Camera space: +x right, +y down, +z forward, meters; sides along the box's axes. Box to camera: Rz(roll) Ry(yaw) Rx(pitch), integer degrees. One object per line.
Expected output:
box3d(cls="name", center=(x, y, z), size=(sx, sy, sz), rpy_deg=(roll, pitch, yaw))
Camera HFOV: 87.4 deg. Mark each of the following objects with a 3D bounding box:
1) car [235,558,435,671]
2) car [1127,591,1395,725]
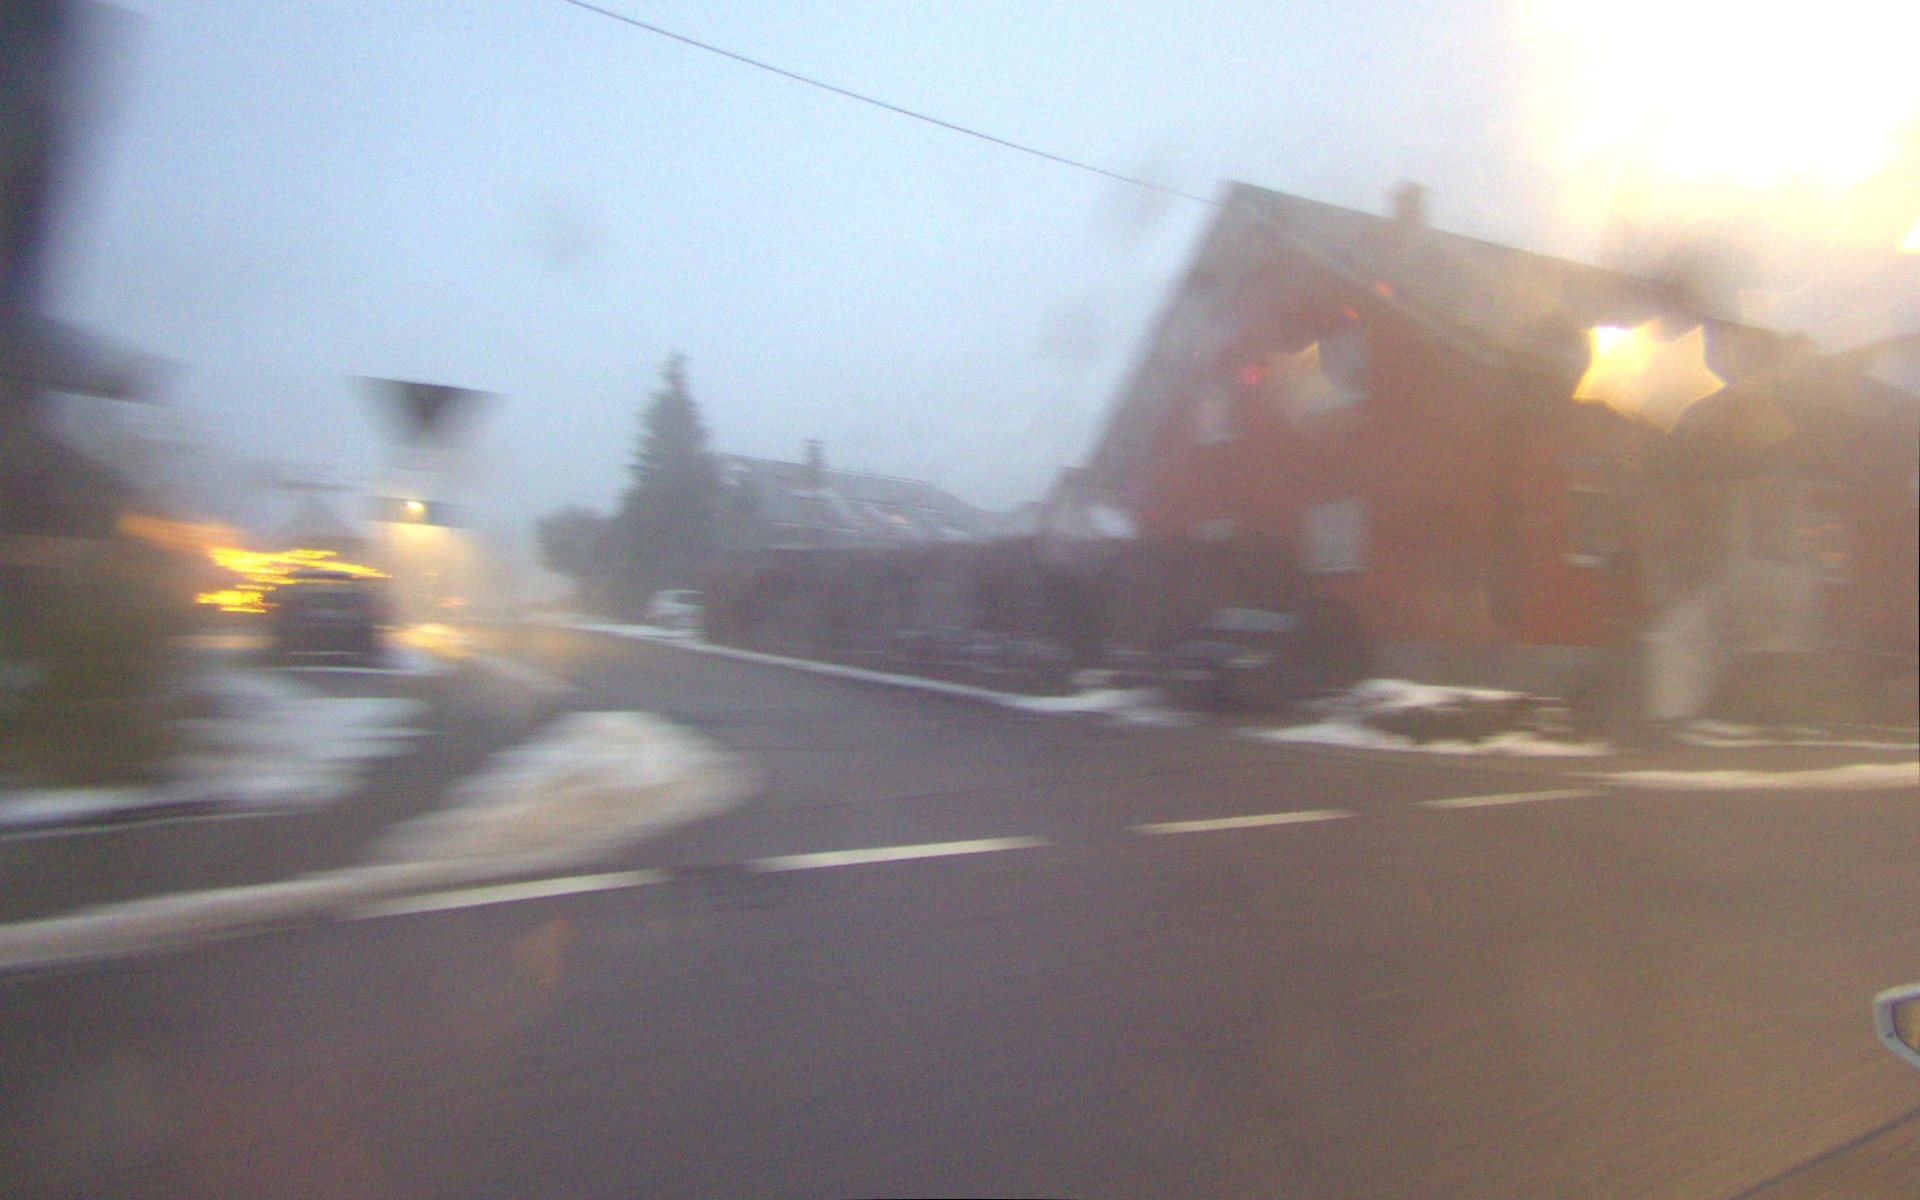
box3d(cls="car", center=(-9.951, 0.208, 15.868), size=(1.986, 1.550, 3.950), rpy_deg=(3, -1, -42))
box3d(cls="car", center=(4.190, 0.746, 13.627), size=(1.854, 1.524, 3.976), rpy_deg=(1, -1, 44))
